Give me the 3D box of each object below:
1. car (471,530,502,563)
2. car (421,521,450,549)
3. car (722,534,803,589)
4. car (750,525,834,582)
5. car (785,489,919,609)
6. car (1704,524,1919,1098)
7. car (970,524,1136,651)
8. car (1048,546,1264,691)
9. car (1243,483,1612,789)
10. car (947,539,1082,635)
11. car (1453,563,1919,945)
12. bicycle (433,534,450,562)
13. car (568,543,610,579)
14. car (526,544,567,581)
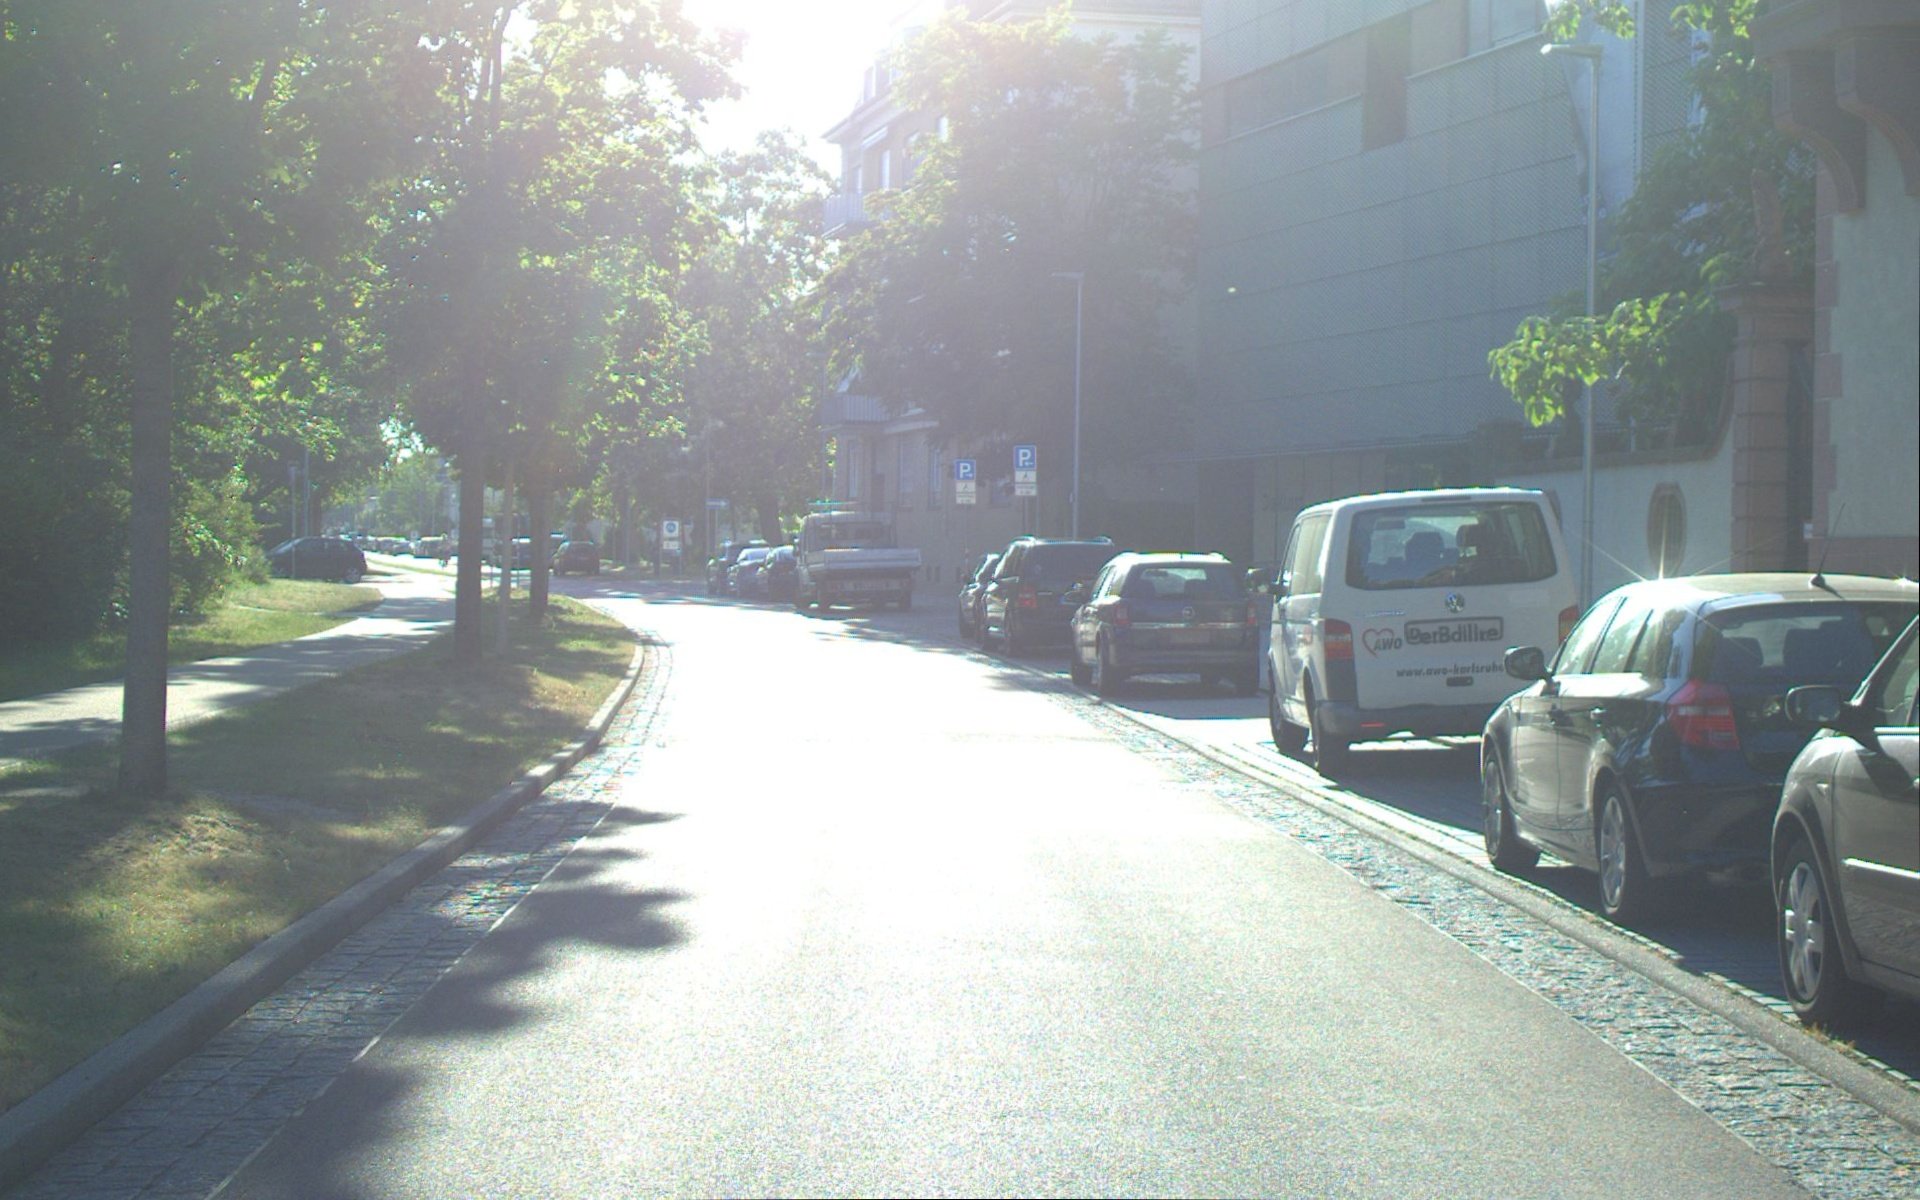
[{"bbox_3d":[-29.782,-3.372,216.084,1.793,1.992,4.001,1,1,-9],"label":"car"},{"bbox_3d":[-39.206,-4.855,256.921,1.993,1.963,4.001,2,1,-10],"label":"car"},{"bbox_3d":[-5.398,-1.070,93.403,1.690,1.435,4.105,0,1,-11],"label":"car"},{"bbox_3d":[-4.318,-1.209,87.976,1.690,1.435,3.552,0,1,-11],"label":"car"},{"bbox_3d":[-2.476,-1.168,76.973,2.211,2.521,6.149,-1,1,-9],"label":"car"},{"bbox_3d":[3.567,0.577,9.727,1.815,1.596,4.193,-1,1,-3],"label":"car"},{"bbox_3d":[1.258,-0.209,48.113,1.724,1.663,4.115,-1,2,-7],"label":"car"},{"bbox_3d":[2.086,0.158,37.748,1.747,1.461,4.478,0,1,-5],"label":"car"},{"bbox_3d":[3.368,0.161,25.714,1.993,1.959,4.850,-2,2,0],"label":"car"},{"bbox_3d":[0.824,-0.231,54.233,1.724,1.417,3.907,0,1,-5],"label":"car"},{"bbox_3d":[3.379,0.567,15.274,1.679,1.398,4.200,-1,1,-1],"label":"car"},{"bbox_3d":[-24.968,-2.513,165.498,0.688,1.198,2.344,1,4,-6],"label":"bicycle"},{"bbox_3d":[-16.330,-1.741,151.262,1.793,1.504,4.001,1,1,-6],"label":"car"},{"bbox_3d":[-19.805,-1.810,164.534,1.793,1.718,4.001,1,1,-9],"label":"car"}]
